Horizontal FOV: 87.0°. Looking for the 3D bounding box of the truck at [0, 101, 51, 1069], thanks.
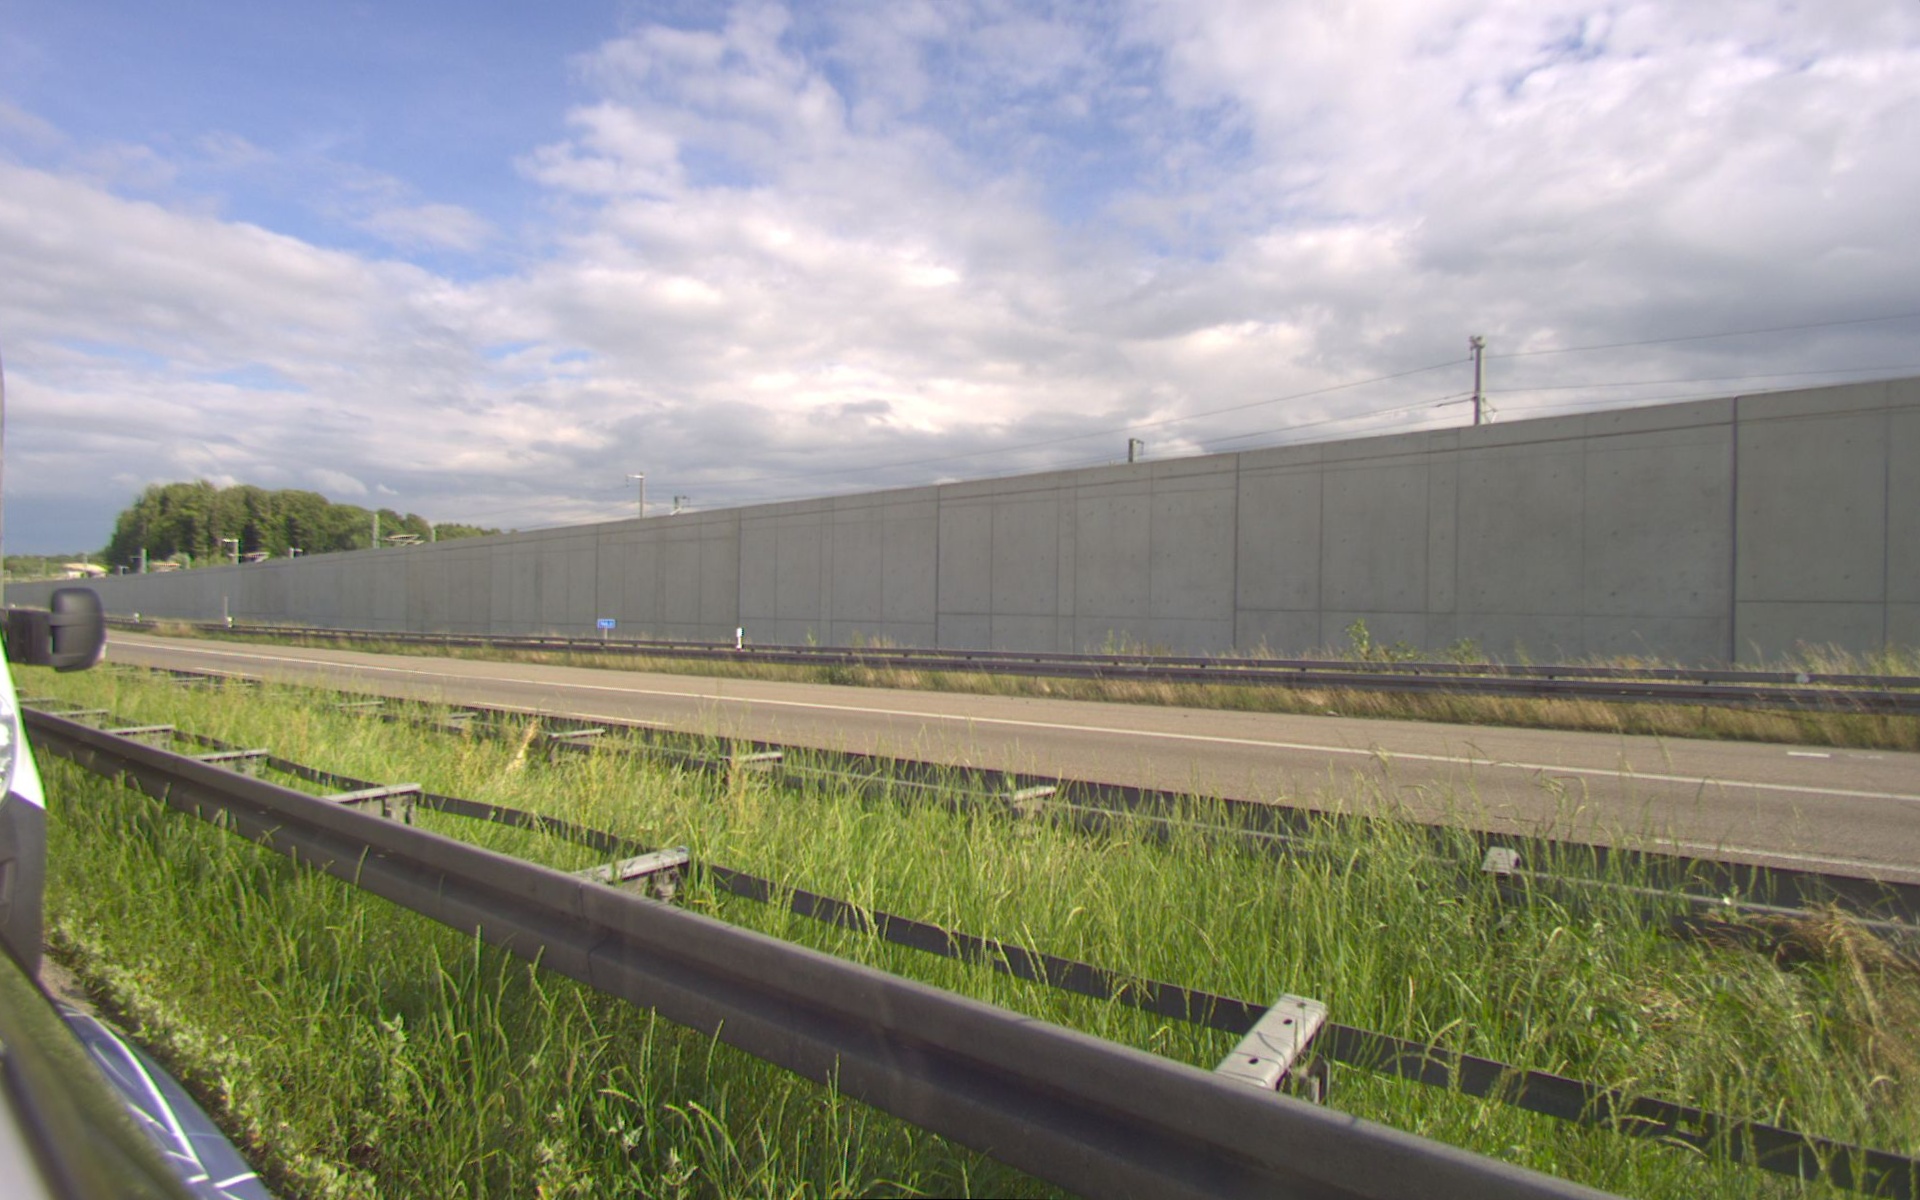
[{"bbox_3d":[-6.614,-0.016,5.162,7.800,3.129,2.033,-1,0,41],"label":"truck"}]
